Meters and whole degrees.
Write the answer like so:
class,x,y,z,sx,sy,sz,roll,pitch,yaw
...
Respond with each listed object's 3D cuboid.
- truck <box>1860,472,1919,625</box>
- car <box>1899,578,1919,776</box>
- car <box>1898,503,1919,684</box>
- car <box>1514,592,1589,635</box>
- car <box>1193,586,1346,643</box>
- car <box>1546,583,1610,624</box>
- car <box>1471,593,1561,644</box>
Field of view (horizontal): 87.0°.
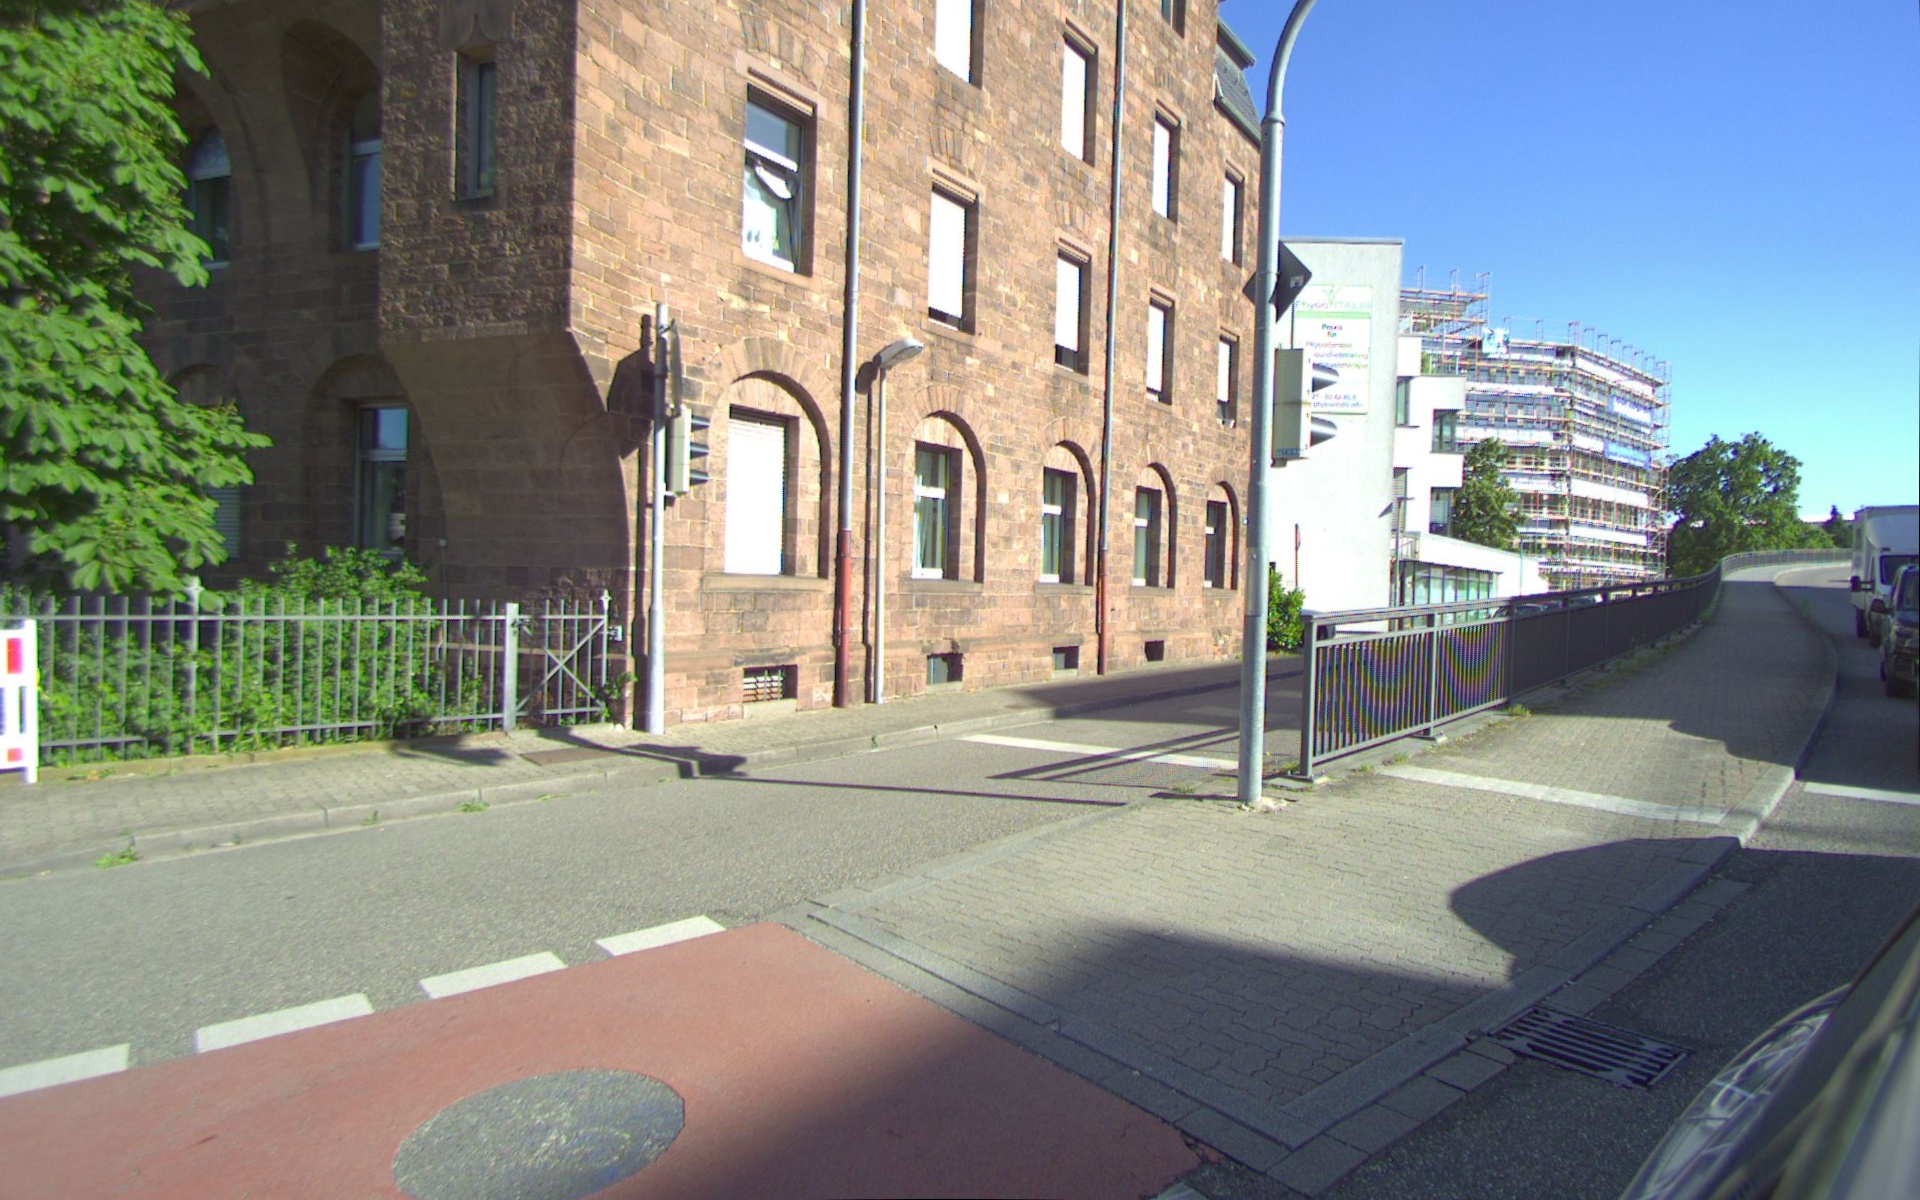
class,x,y,z,sx,sy,sz,roll,pitch,yaw
truck,22.478,-1.033,23.287,2.494,3.167,6.855,2,1,41
car,9.412,0.591,8.682,1.875,1.489,4.562,3,2,44
car,14.300,-0.036,13.932,1.945,2.289,4.711,2,1,43
car,23.177,0.514,39.591,2.043,1.551,4.038,2,1,37
car,9.200,0.398,30.370,4.020,1.551,1.917,2,0,5
car,27.668,0.167,45.261,2.043,1.707,4.038,2,1,37
car,18.668,0.581,33.919,2.043,1.551,4.037,2,1,38
